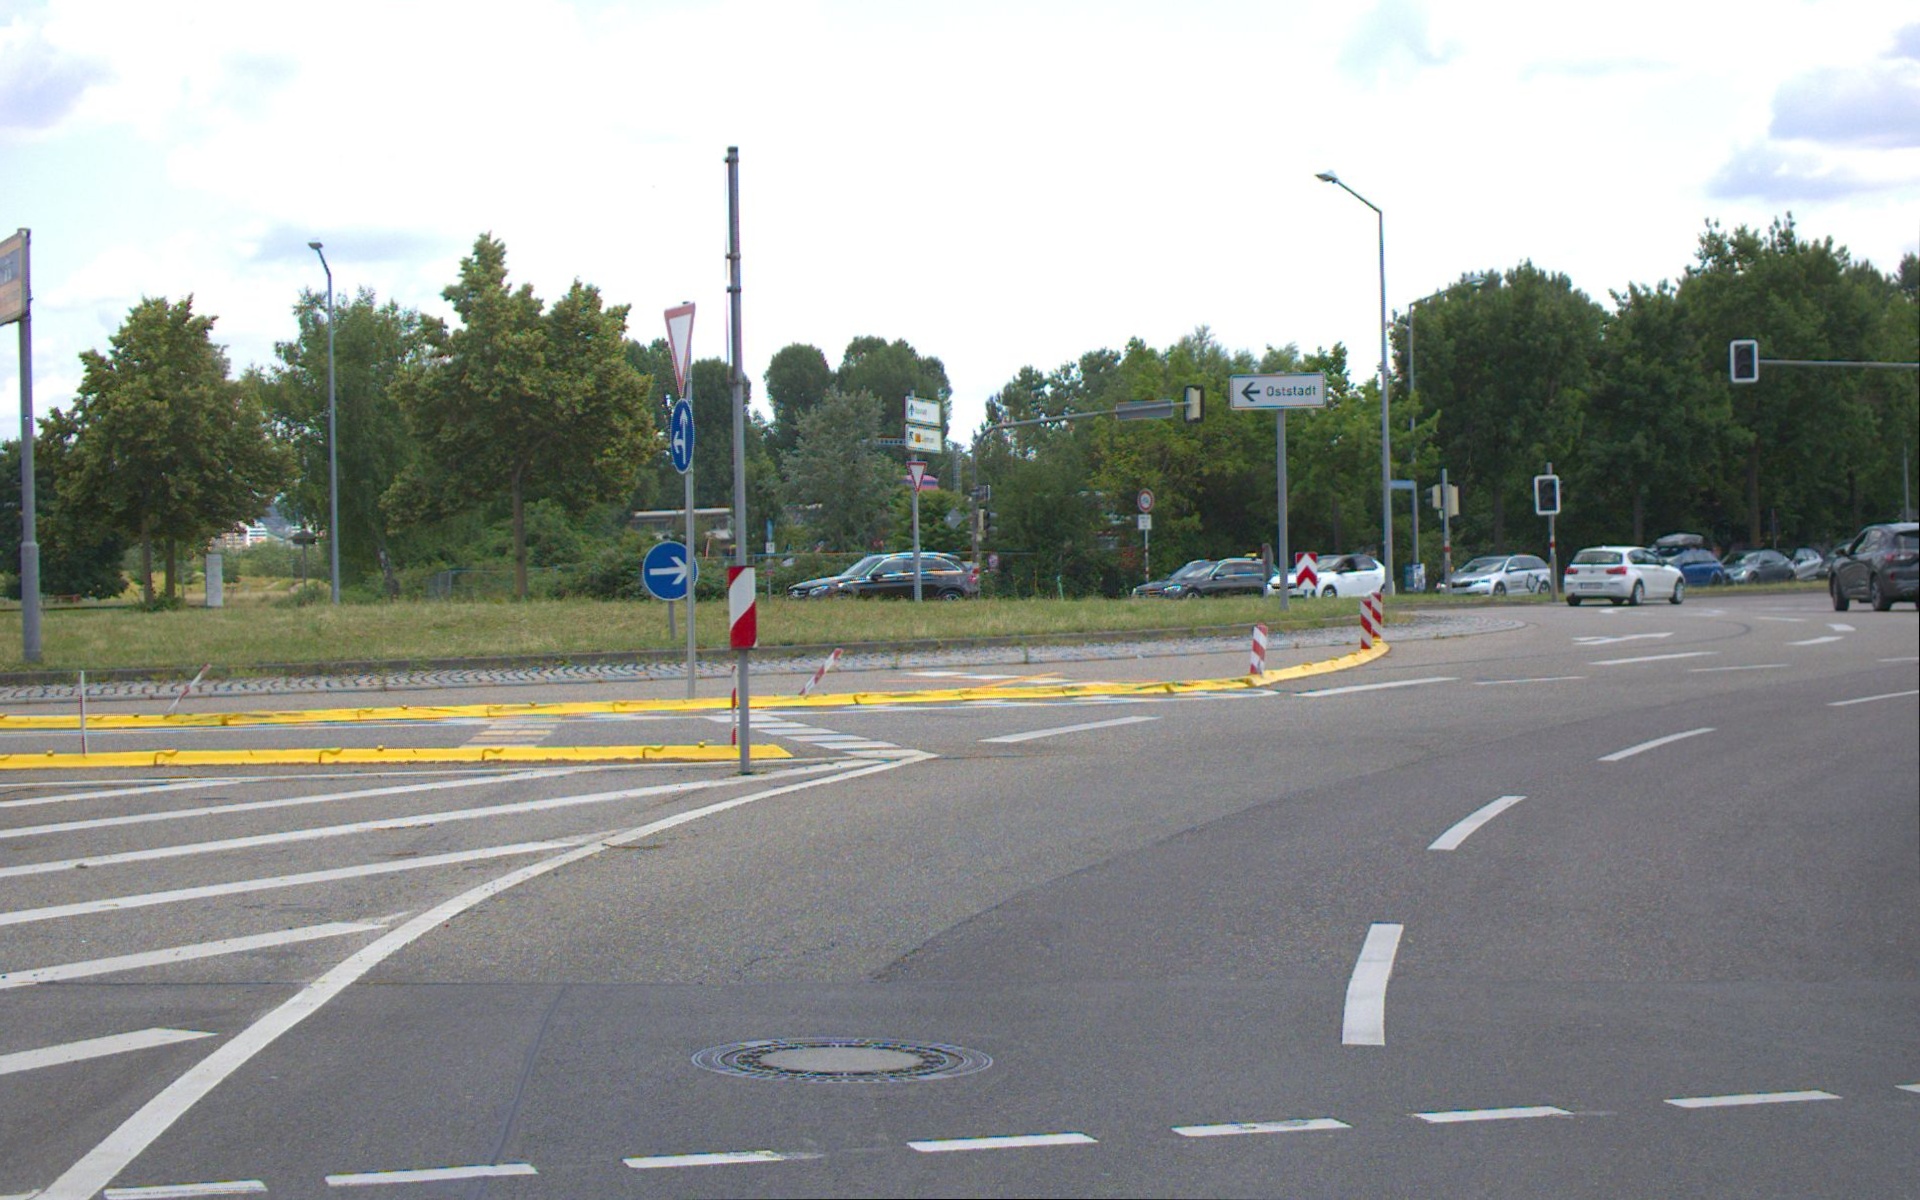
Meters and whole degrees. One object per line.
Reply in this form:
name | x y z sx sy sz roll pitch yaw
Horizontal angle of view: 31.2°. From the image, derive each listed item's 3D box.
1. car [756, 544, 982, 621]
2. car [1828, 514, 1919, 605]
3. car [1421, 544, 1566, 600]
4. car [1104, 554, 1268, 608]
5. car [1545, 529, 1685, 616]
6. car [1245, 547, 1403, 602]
car | -2.113 -0.432 80.814 5.055 1.669 2.000 -2 1 -37
car | 17.821 -0.778 64.579 1.993 1.620 4.309 -2 0 2
car | 15.669 -0.830 100.847 2.122 1.516 4.497 0 2 40
car | 6.038 -0.517 91.546 1.953 1.318 4.480 0 2 43
car | 15.883 -0.692 83.206 1.997 2.007 3.993 0 1 32
car | 9.462 -0.672 89.144 1.998 1.325 4.302 0 1 40
